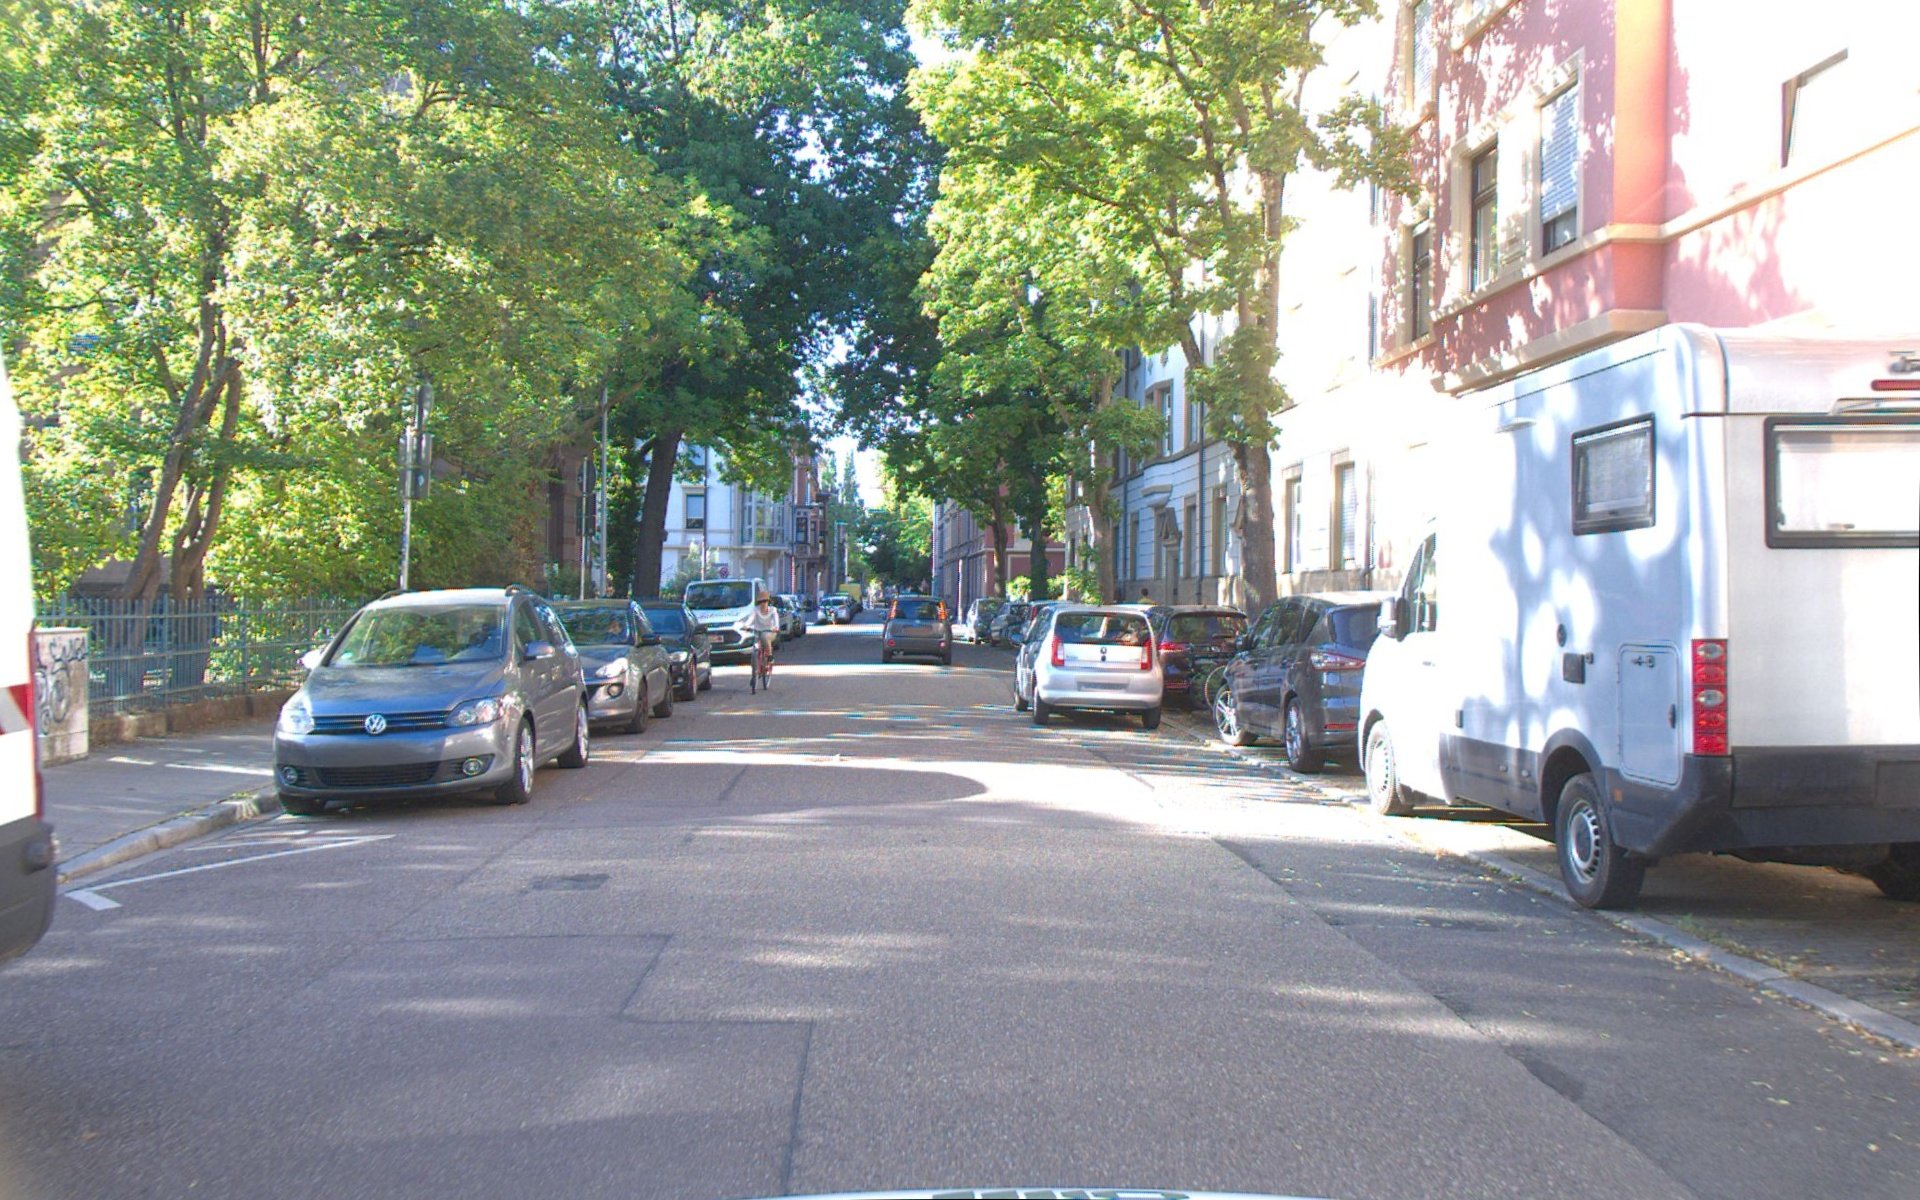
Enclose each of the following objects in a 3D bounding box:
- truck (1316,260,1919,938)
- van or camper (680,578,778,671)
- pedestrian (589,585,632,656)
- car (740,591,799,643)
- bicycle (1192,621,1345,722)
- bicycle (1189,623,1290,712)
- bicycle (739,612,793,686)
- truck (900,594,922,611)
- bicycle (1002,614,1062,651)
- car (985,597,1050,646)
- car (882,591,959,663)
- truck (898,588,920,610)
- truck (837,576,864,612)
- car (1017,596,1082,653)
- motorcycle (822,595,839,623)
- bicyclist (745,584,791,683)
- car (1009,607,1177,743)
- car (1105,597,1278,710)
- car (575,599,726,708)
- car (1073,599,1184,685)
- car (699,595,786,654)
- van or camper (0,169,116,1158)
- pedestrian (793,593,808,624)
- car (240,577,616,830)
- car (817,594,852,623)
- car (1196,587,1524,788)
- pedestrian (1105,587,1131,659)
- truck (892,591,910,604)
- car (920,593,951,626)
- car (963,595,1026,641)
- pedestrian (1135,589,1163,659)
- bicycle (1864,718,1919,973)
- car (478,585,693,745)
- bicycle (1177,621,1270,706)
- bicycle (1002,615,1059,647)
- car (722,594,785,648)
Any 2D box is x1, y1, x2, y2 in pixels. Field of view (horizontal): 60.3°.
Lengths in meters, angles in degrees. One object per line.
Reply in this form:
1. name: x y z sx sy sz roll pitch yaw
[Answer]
1. truck: 4.168 -0.050 10.544 2.033 3.020 6.104 -2 0 -4
2. van or camper: -5.533 0.554 40.180 1.884 2.014 5.457 -3 0 -4
3. pedestrian: -8.044 0.465 38.068 0.863 1.605 0.529 1 0 -2
4. car: -6.419 0.540 55.934 1.790 1.581 4.129 -3 0 -5
5. bicycle: 3.868 0.889 20.809 1.775 1.187 0.569 -2 0 -4
6. bicycle: 3.755 0.901 22.257 1.281 1.160 0.327 -1 0 -3
7. bicycle: -3.050 0.760 26.147 0.651 1.096 1.685 1 0 -1
8. truck: -4.610 0.242 153.741 1.954 1.482 3.998 0 0 -3
9. bicycle: 2.171 0.979 49.865 1.734 1.057 0.606 1 0 -3
10. car: 1.852 0.681 54.400 1.580 1.504 3.864 0 0 -7
11. car: -0.955 0.584 38.273 1.601 1.577 3.261 0 0 -5
12. truck: -4.915 -0.114 159.110 1.954 2.027 3.998 0 0 -3
13. truck: -9.556 -0.531 145.140 2.029 2.976 5.066 -3 0 -2
14. car: 2.477 0.650 46.355 1.489 1.537 3.542 0 0 -2
15. motorcycle: -6.982 0.453 89.315 0.684 1.486 1.746 -1 0 -12
16. bicyclist: -3.041 0.518 26.198 0.638 1.535 0.624 1 0 -1
17. car: 1.669 0.917 21.906 1.646 1.571 3.797 1 0 -4
18. car: 3.432 0.745 25.332 1.751 1.540 4.456 1 0 -4
19. car: -4.694 0.747 25.682 1.680 1.419 4.776 -3 0 -4
20. car: 3.157 0.745 31.545 1.565 1.514 3.746 -1 0 -3
21. car: -5.944 0.635 45.679 1.961 1.483 4.603 -2 0 -3
22. van or camper: -3.660 0.203 2.365 2.086 2.817 5.848 -2 0 -3
23. pedestrian: -9.626 0.493 99.993 0.707 1.871 0.627 1 0 8
24. car: -3.986 0.669 13.205 1.745 1.618 4.466 -2 0 -3
25. car: -7.008 0.461 92.614 1.761 1.456 3.923 -3 0 -2
26. car: 3.863 0.747 16.945 1.848 1.746 4.940 0 0 -4
27. pedestrian: 3.975 0.569 41.652 0.509 1.765 0.878 1 0 -2
28. truck: -6.894 -0.273 193.227 1.954 1.482 3.998 0 0 -3
29. car: -1.362 0.500 90.460 1.629 1.698 3.755 1 0 -2
30. car: 1.216 0.633 59.951 1.754 1.578 4.404 1 0 -6
31. pedestrian: 4.744 0.603 41.621 0.583 1.731 0.688 1 0 -2
32. bicycle: 4.762 1.025 6.889 1.671 1.017 0.705 1 0 -9
33. car: -4.255 0.665 19.401 1.642 1.600 4.150 -3 1 -2
34. bicycle: 3.486 0.833 21.894 1.177 1.094 0.298 -1 0 -4
35. bicycle: 2.174 0.950 51.088 1.681 0.966 0.733 -1 0 -3
36. car: -6.281 0.604 50.567 1.570 1.485 4.025 -3 1 -3
